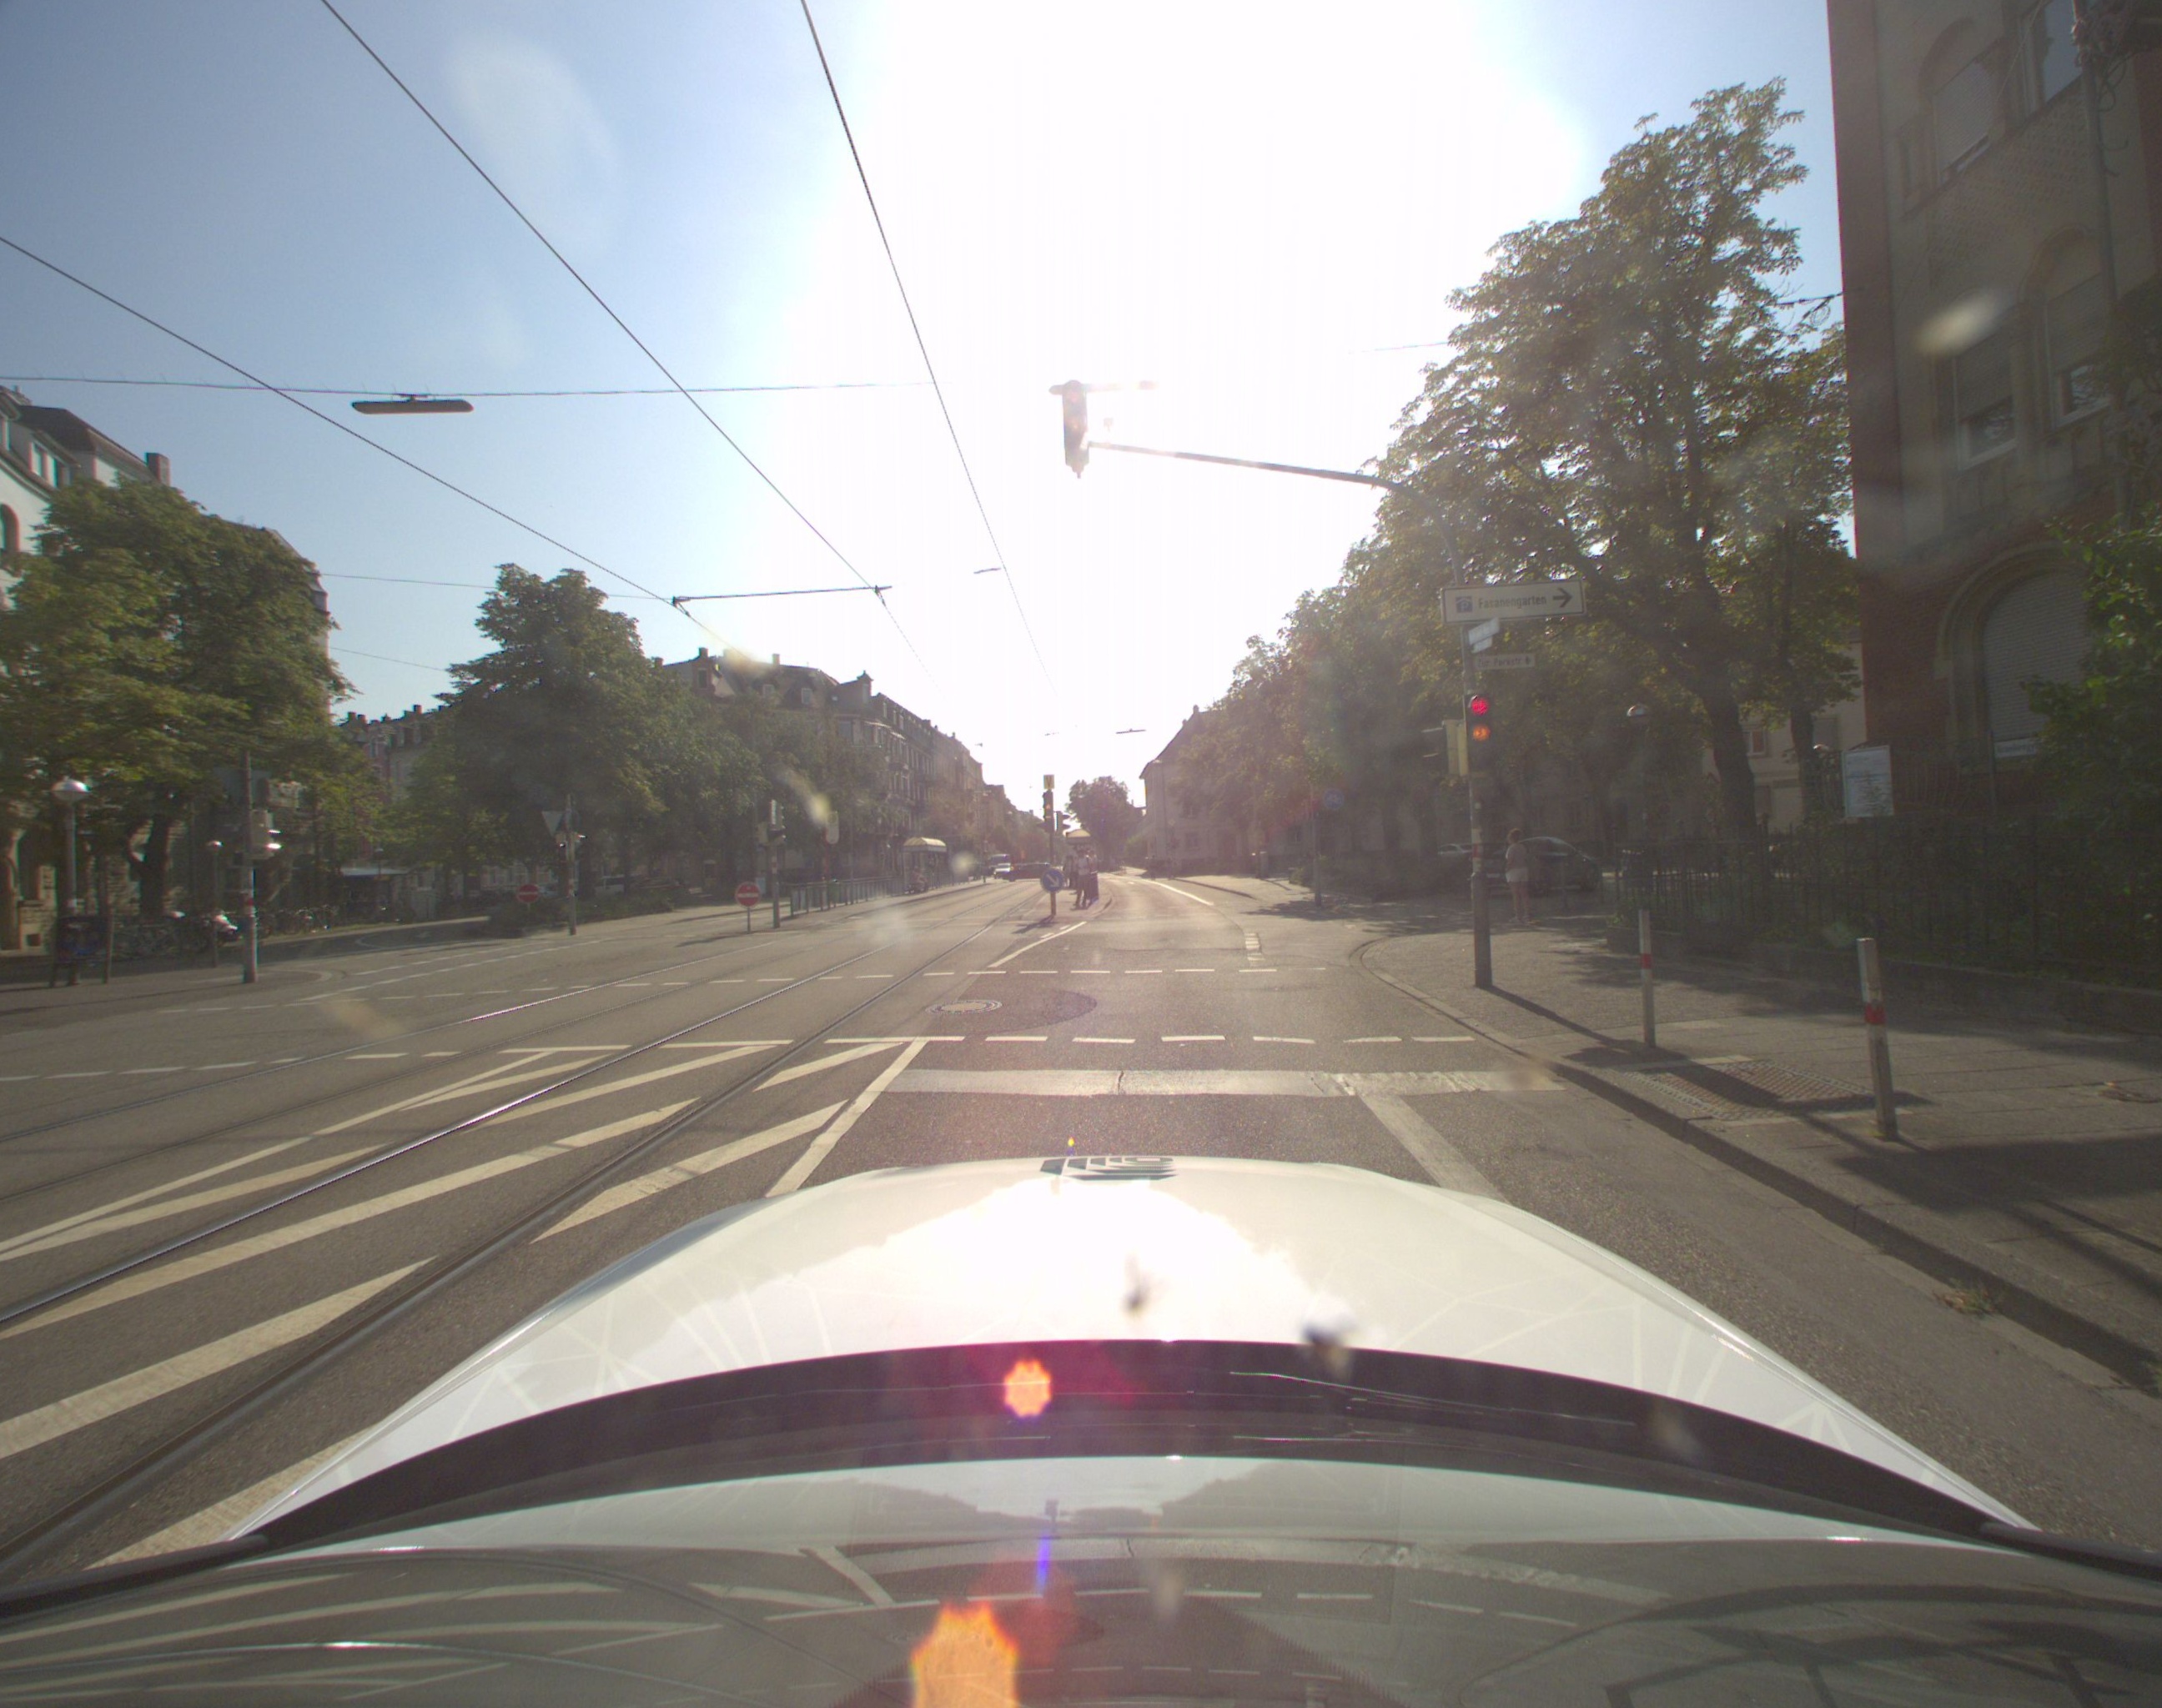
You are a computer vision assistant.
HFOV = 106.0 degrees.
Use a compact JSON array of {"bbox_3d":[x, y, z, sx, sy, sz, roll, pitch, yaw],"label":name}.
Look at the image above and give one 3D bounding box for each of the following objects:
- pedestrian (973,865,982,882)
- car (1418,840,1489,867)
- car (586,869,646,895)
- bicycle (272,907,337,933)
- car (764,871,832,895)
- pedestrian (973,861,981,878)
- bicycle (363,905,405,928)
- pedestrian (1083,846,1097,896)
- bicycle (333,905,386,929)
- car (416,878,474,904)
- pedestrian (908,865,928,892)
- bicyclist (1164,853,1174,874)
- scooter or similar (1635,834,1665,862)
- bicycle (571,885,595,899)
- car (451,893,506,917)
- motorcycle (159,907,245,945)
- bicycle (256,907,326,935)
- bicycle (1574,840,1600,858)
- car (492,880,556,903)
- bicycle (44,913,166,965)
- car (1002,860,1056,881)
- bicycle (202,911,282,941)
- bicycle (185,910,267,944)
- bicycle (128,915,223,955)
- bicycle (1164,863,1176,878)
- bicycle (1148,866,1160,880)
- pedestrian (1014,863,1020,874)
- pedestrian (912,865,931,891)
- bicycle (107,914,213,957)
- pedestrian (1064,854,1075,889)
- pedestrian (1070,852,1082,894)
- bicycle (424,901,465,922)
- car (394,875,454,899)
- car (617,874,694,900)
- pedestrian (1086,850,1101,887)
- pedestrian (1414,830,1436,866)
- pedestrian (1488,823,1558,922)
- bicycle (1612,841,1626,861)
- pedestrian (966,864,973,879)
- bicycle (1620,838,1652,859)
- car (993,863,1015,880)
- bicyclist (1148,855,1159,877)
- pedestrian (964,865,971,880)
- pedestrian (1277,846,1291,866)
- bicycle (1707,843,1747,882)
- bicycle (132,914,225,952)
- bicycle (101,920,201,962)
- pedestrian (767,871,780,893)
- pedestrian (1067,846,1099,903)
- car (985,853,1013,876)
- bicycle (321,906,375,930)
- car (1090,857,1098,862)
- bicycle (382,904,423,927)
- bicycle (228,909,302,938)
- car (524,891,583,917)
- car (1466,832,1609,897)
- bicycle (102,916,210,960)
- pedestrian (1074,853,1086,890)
[{"bbox_3d":[-10.581,2.011,83.306,0.747,1.731,0.772,-3,-1,3],"label":"pedestrian"},{"bbox_3d":[21.669,-0.013,47.546,1.752,1.428,4.134,-3,0,-8],"label":"car"},{"bbox_3d":[-35.990,2.157,63.046,3.952,1.828,2.011,-3,0,22],"label":"car"},{"bbox_3d":[-32.506,2.743,34.109,1.877,0.935,0.635,-2,-1,-17],"label":"bicycle"},{"bbox_3d":[-21.460,2.221,61.821,4.359,1.569,1.976,-2,-1,-41],"label":"car"},{"bbox_3d":[-10.890,1.657,85.622,0.749,1.731,0.769,-3,-1,-8],"label":"pedestrian"},{"bbox_3d":[-33.275,2.976,38.913,0.423,0.978,1.770,-3,0,1],"label":"bicycle"},{"bbox_3d":[0.324,0.618,29.917,0.502,1.834,0.534,0,2,1],"label":"pedestrian"},{"bbox_3d":[-34.507,3.011,38.989,1.772,0.978,0.601,-3,0,-22],"label":"bicycle"},{"bbox_3d":[-51.091,2.961,65.416,3.951,1.828,2.011,-3,0,23],"label":"car"},{"bbox_3d":[-8.473,1.254,42.406,0.826,1.359,0.775,-3,-1,-4],"label":"pedestrian"},{"bbox_3d":[6.153,0.687,56.803,0.556,1.417,0.871,-3,0,-1],"label":"bicyclist"},{"bbox_3d":[27.481,-0.287,39.355,1.059,1.197,0.463,-7,-1,33],"label":"scooter or similar"},{"bbox_3d":[-37.822,2.864,61.853,1.833,0.958,0.551,-3,0,24],"label":"bicycle"},{"bbox_3d":[-51.420,4.339,69.505,3.952,1.828,2.011,-3,0,22],"label":"car"},{"bbox_3d":[-29.973,2.441,27.798,1.882,1.154,0.601,-2,-1,-33],"label":"motorcycle"},{"bbox_3d":[-31.745,2.683,32.759,1.908,0.980,0.679,-2,-1,-33],"label":"bicycle"},{"bbox_3d":[28.720,-0.260,46.204,0.423,0.978,1.555,-3,0,-1],"label":"bicycle"},{"bbox_3d":[-42.386,2.862,61.974,4.283,1.569,2.011,-3,-1,24],"label":"car"},{"bbox_3d":[-24.736,2.135,20.690,0.563,1.113,1.888,-3,-1,22],"label":"bicycle"},{"bbox_3d":[-4.355,1.385,68.734,4.308,1.569,2.000,-3,-1,0],"label":"car"},{"bbox_3d":[-30.835,2.646,29.982,1.919,0.935,0.730,-2,-1,-33],"label":"bicycle"},{"bbox_3d":[-30.259,2.560,28.853,1.885,1.027,0.657,-2,-1,-33],"label":"bicycle"},{"bbox_3d":[-26.768,2.380,24.115,1.814,0.984,0.563,-1,-2,-40],"label":"bicycle"},{"bbox_3d":[6.181,1.120,56.784,0.556,0.978,1.856,-3,0,0],"label":"bicycle"},{"bbox_3d":[5.256,1.368,58.675,0.627,0.978,1.770,-3,0,0],"label":"bicycle"},{"bbox_3d":[-10.333,2.275,131.476,0.749,1.731,0.769,-3,-1,-8],"label":"pedestrian"},{"bbox_3d":[-8.476,1.264,43.384,0.826,1.359,0.775,-3,-1,-4],"label":"pedestrian"},{"bbox_3d":[-25.921,2.281,22.972,1.887,1.034,0.563,-2,-2,-38],"label":"bicycle"},{"bbox_3d":[-0.563,0.871,40.871,0.530,1.759,0.545,0,2,2],"label":"pedestrian"},{"bbox_3d":[-0.217,0.802,34.628,0.502,1.759,0.534,0,2,1],"label":"pedestrian"},{"bbox_3d":[-33.479,3.015,42.820,1.754,0.978,0.607,-3,0,8],"label":"bicycle"},{"bbox_3d":[-57.929,2.889,71.828,3.959,1.828,2.007,-3,0,13],"label":"car"},{"bbox_3d":[-30.077,2.298,57.653,4.310,1.569,1.999,-3,-1,-2],"label":"car"},{"bbox_3d":[0.596,0.696,38.816,0.706,1.759,0.534,0,2,1],"label":"pedestrian"},{"bbox_3d":[17.461,-0.293,41.358,0.883,1.740,0.780,-3,-1,20],"label":"pedestrian"},{"bbox_3d":[8.112,0.337,14.978,0.749,1.731,0.769,-3,-1,-8],"label":"pedestrian"},{"bbox_3d":[27.394,-0.171,41.449,0.420,0.978,1.566,-3,0,39],"label":"bicycle"},{"bbox_3d":[-13.292,2.133,97.504,0.749,1.731,0.769,-3,-1,-8],"label":"pedestrian"},{"bbox_3d":[28.319,-0.280,41.552,1.555,1.038,0.423,-3,-1,-18],"label":"bicycle"},{"bbox_3d":[-8.201,1.808,86.609,1.794,1.653,3.644,-3,-1,2],"label":"car"},{"bbox_3d":[5.238,0.877,58.678,0.627,1.507,0.678,-3,-1,-1],"label":"bicyclist"},{"bbox_3d":[-13.167,2.107,94.576,0.749,1.731,0.769,-3,-1,-8],"label":"pedestrian"},{"bbox_3d":[17.480,0.170,70.268,0.882,1.740,0.781,-3,-1,34],"label":"pedestrian"},{"bbox_3d":[17.776,0.216,22.398,1.779,0.978,0.421,-3,-1,-39],"label":"bicycle"},{"bbox_3d":[-27.614,2.402,24.963,1.814,0.983,0.652,-1,-2,-40],"label":"bicycle"},{"bbox_3d":[-23.838,2.217,20.900,0.473,0.920,1.619,-3,-1,31],"label":"bicycle"},{"bbox_3d":[-25.038,2.252,66.303,0.775,1.731,0.744,-2,-1,-37],"label":"pedestrian"},{"bbox_3d":[0.064,0.639,25.653,0.693,1.725,0.753,1,2,34],"label":"pedestrian"},{"bbox_3d":[-10.208,1.253,101.870,2.336,2.662,5.112,-3,-1,5],"label":"car"},{"bbox_3d":[-34.389,3.005,38.211,1.771,0.978,0.516,-3,0,-21],"label":"bicycle"},{"bbox_3d":[3.981,1.740,257.572,1.982,1.783,4.009,-2,-1,8],"label":"car"},{"bbox_3d":[-32.894,2.970,39.496,0.423,0.978,1.770,-3,0,1],"label":"bicycle"},{"bbox_3d":[-31.419,2.661,31.393,1.908,0.980,0.679,-2,-1,-33],"label":"bicycle"},{"bbox_3d":[-42.720,4.047,65.968,3.952,1.828,2.011,-3,0,22],"label":"car"},{"bbox_3d":[12.619,0.258,22.420,4.244,1.515,1.595,-3,0,-33],"label":"car"},{"bbox_3d":[-24.873,2.231,21.933,0.562,1.003,1.890,-3,-1,37],"label":"bicycle"},{"bbox_3d":[-0.036,0.843,39.444,0.541,1.759,0.534,0,2,1],"label":"pedestrian"}]
